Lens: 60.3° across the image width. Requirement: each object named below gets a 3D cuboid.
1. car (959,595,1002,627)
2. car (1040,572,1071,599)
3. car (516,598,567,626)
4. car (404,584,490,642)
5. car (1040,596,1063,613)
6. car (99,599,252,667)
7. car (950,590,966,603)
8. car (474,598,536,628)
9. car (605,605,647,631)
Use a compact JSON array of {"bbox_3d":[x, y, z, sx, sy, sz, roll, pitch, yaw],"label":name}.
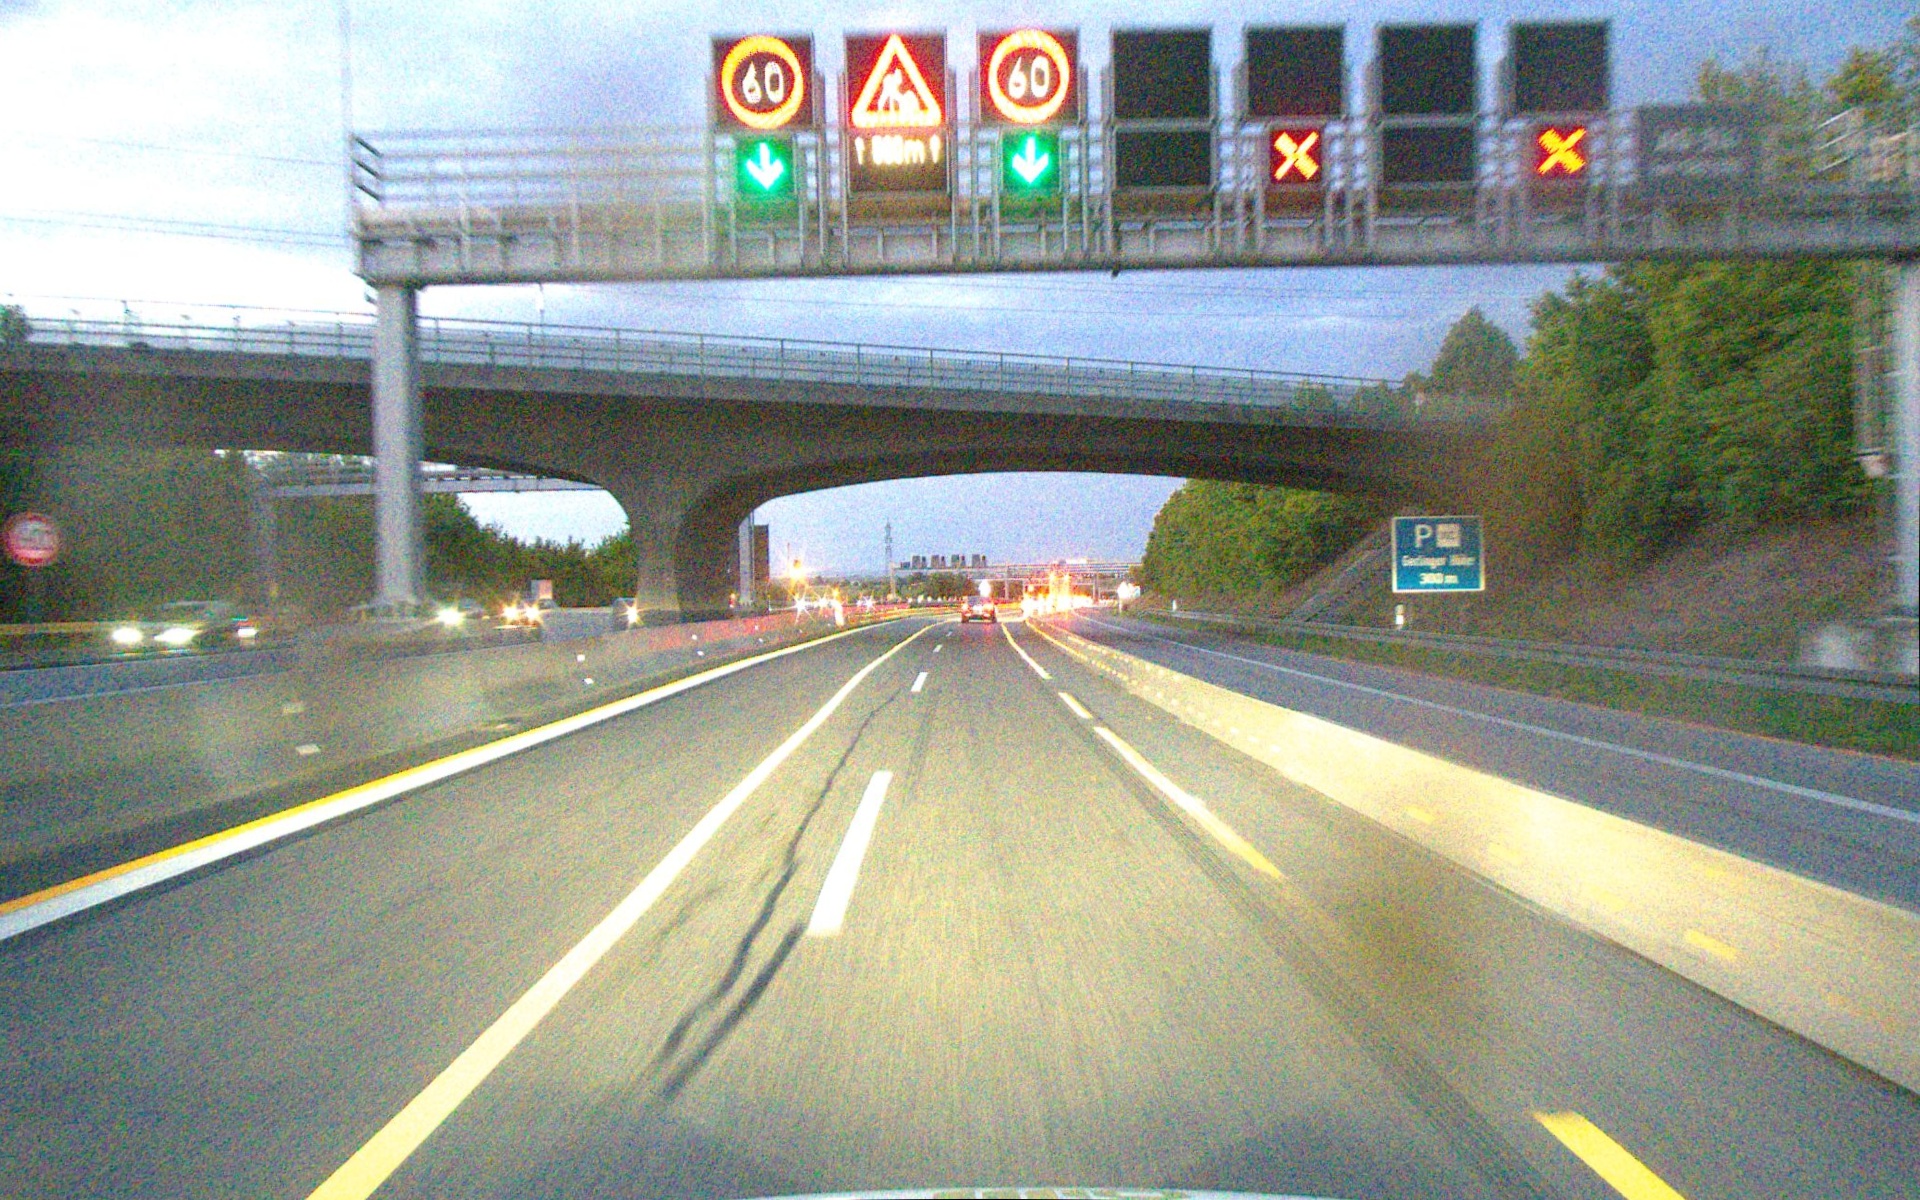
[{"bbox_3d":[1.085,0.568,88.941,2.219,1.649,4.000,1,0,1],"label":"car"},{"bbox_3d":[13.057,-1.931,225.673,3.532,3.455,8.012,1,0,-1],"label":"car"},{"bbox_3d":[-22.552,0.647,89.301,1.954,1.444,3.997,-1,0,-3],"label":"car"},{"bbox_3d":[-20.614,0.505,66.698,1.953,2.228,4.801,1,0,-1],"label":"car"},{"bbox_3d":[8.182,0.414,148.208,1.931,1.462,4.001,1,0,2],"label":"car"},{"bbox_3d":[-21.226,0.850,44.962,1.953,1.703,4.582,1,0,-1],"label":"car"},{"bbox_3d":[-0.286,-0.549,252.779,1.951,1.860,4.002,1,0,5],"label":"car"},{"bbox_3d":[-22.050,0.617,80.237,1.953,1.346,3.999,-1,0,-1],"label":"car"},{"bbox_3d":[-18.853,0.991,93.437,1.593,1.431,3.520,1,0,0],"label":"car"}]
